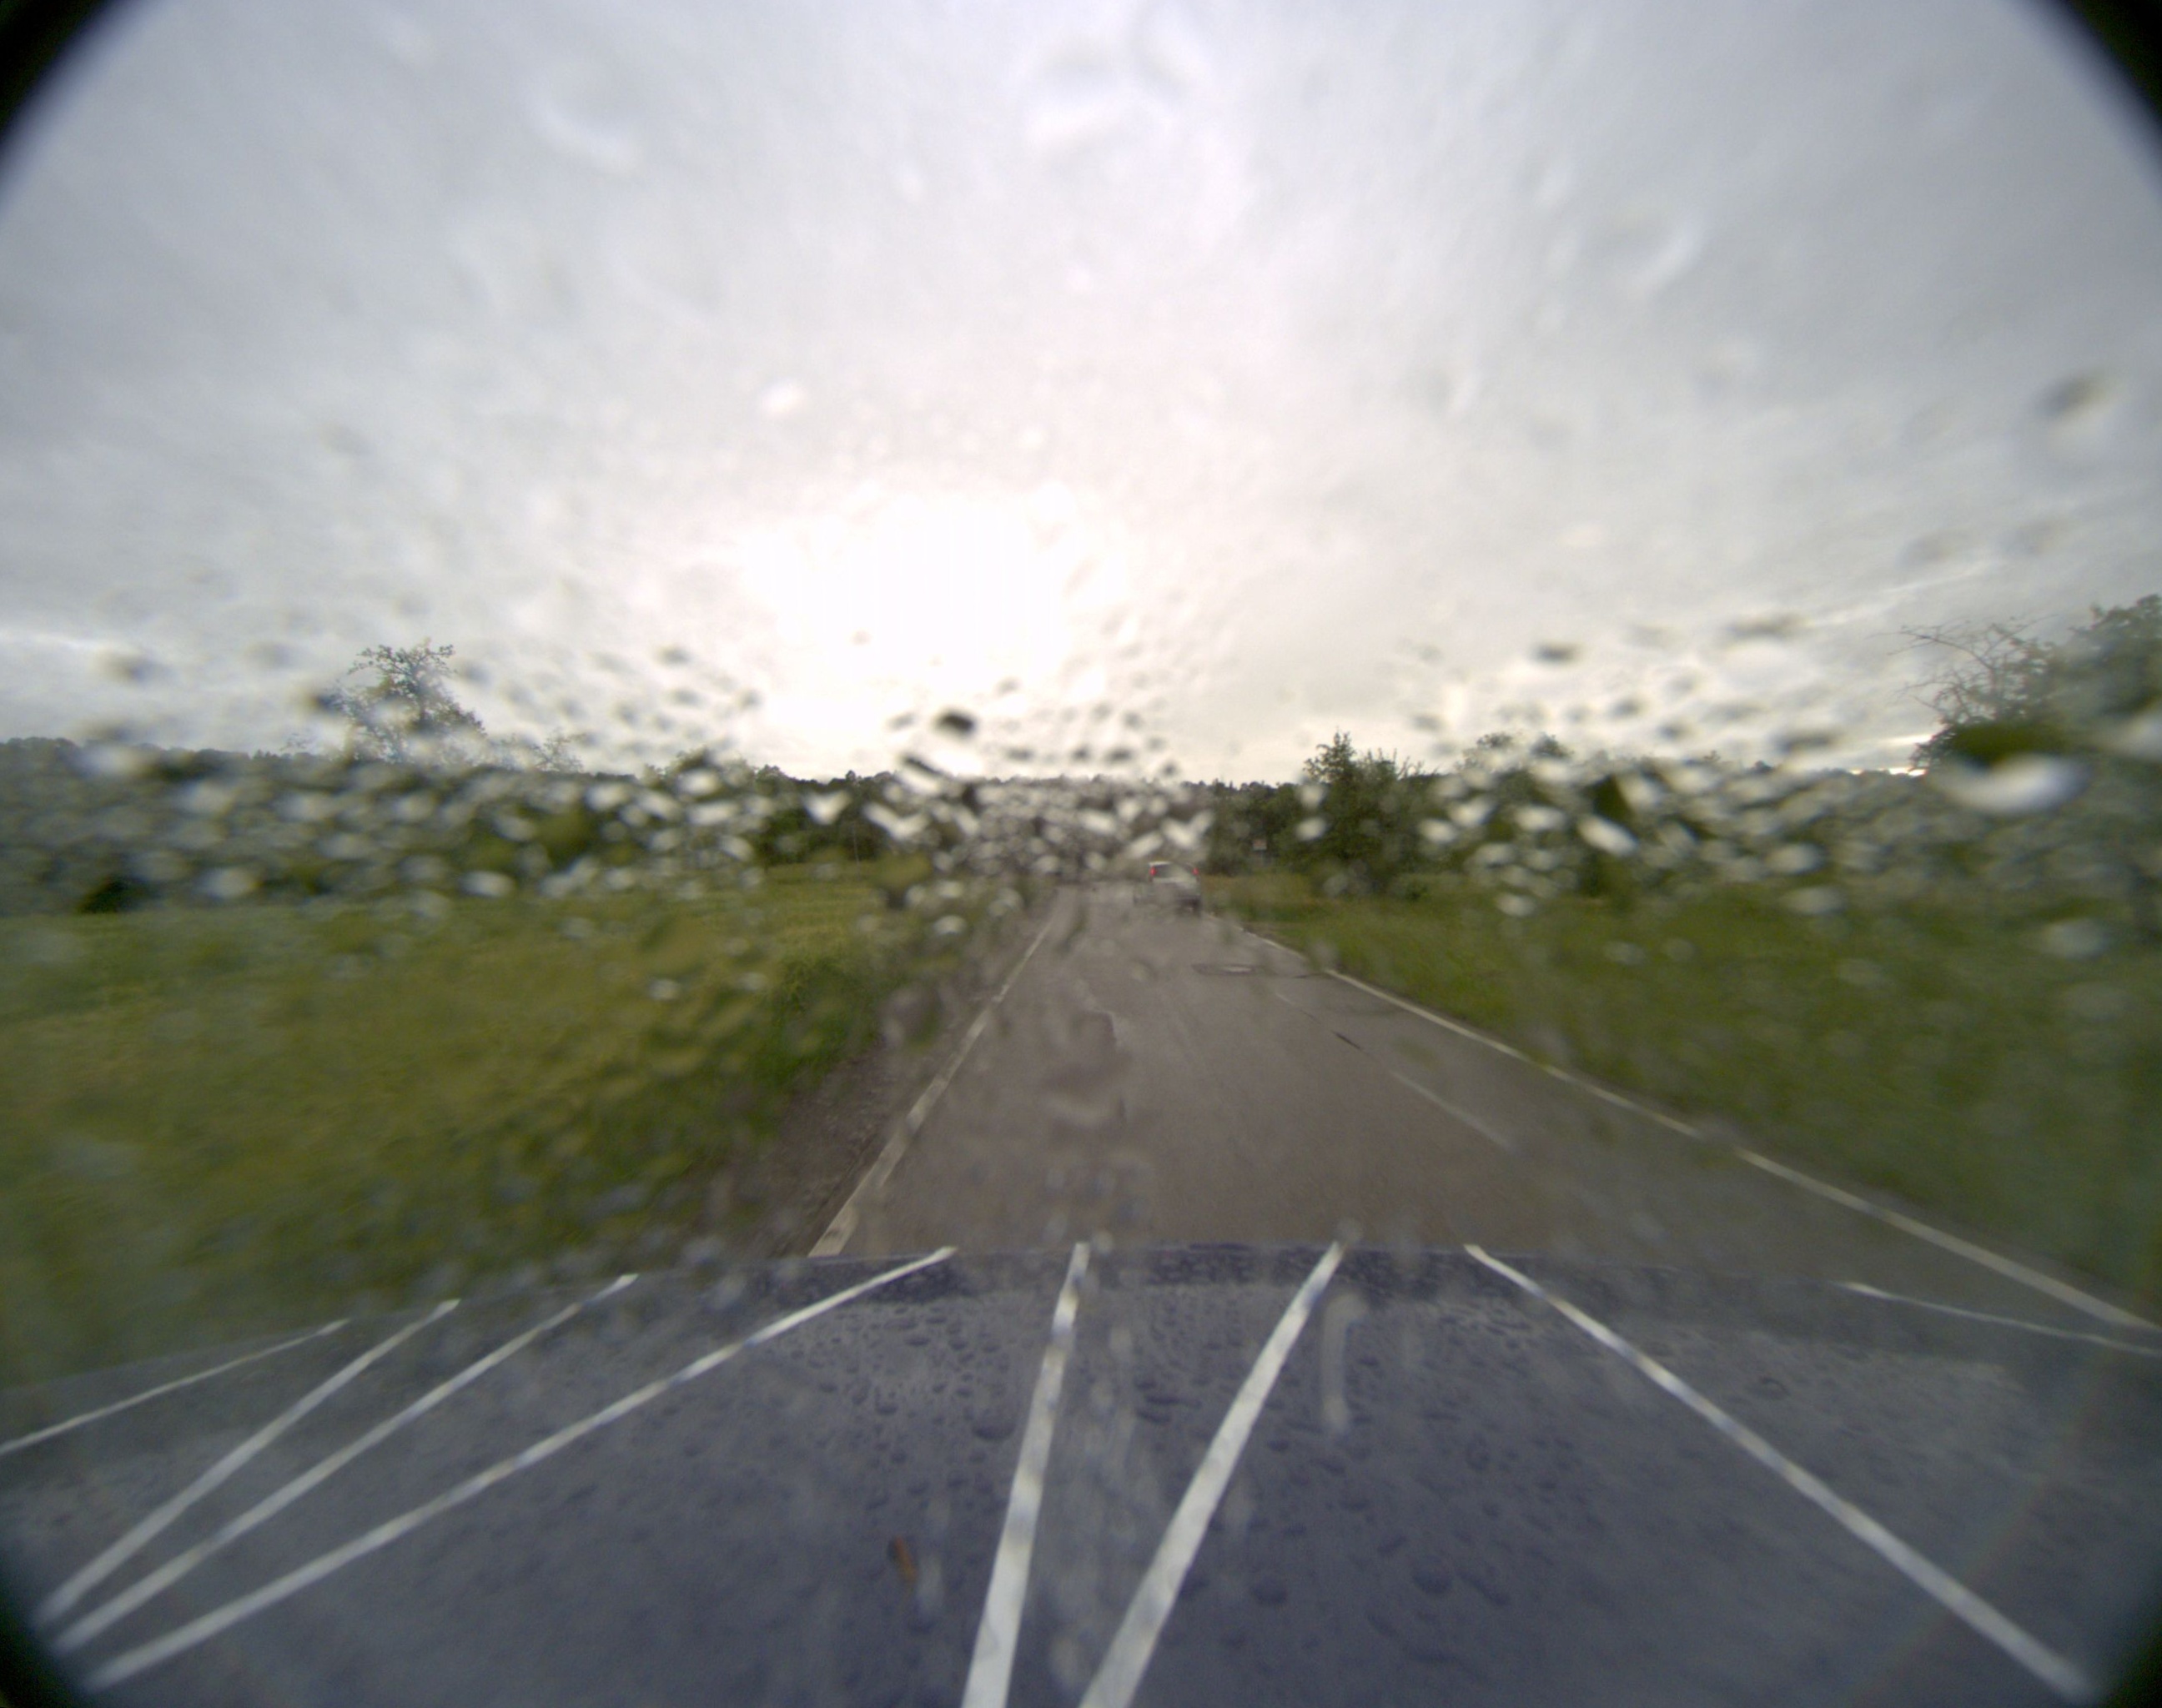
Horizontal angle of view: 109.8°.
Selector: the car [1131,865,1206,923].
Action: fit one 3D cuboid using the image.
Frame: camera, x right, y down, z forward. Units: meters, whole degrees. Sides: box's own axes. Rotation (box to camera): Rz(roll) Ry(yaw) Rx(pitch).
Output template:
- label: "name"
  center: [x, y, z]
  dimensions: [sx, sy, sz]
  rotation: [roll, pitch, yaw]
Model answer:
- label: "car"
  center: [2.594, 1.153, 23.398]
  dimensions: [1.744, 1.463, 4.121]
  rotation: [-1, 1, -1]
